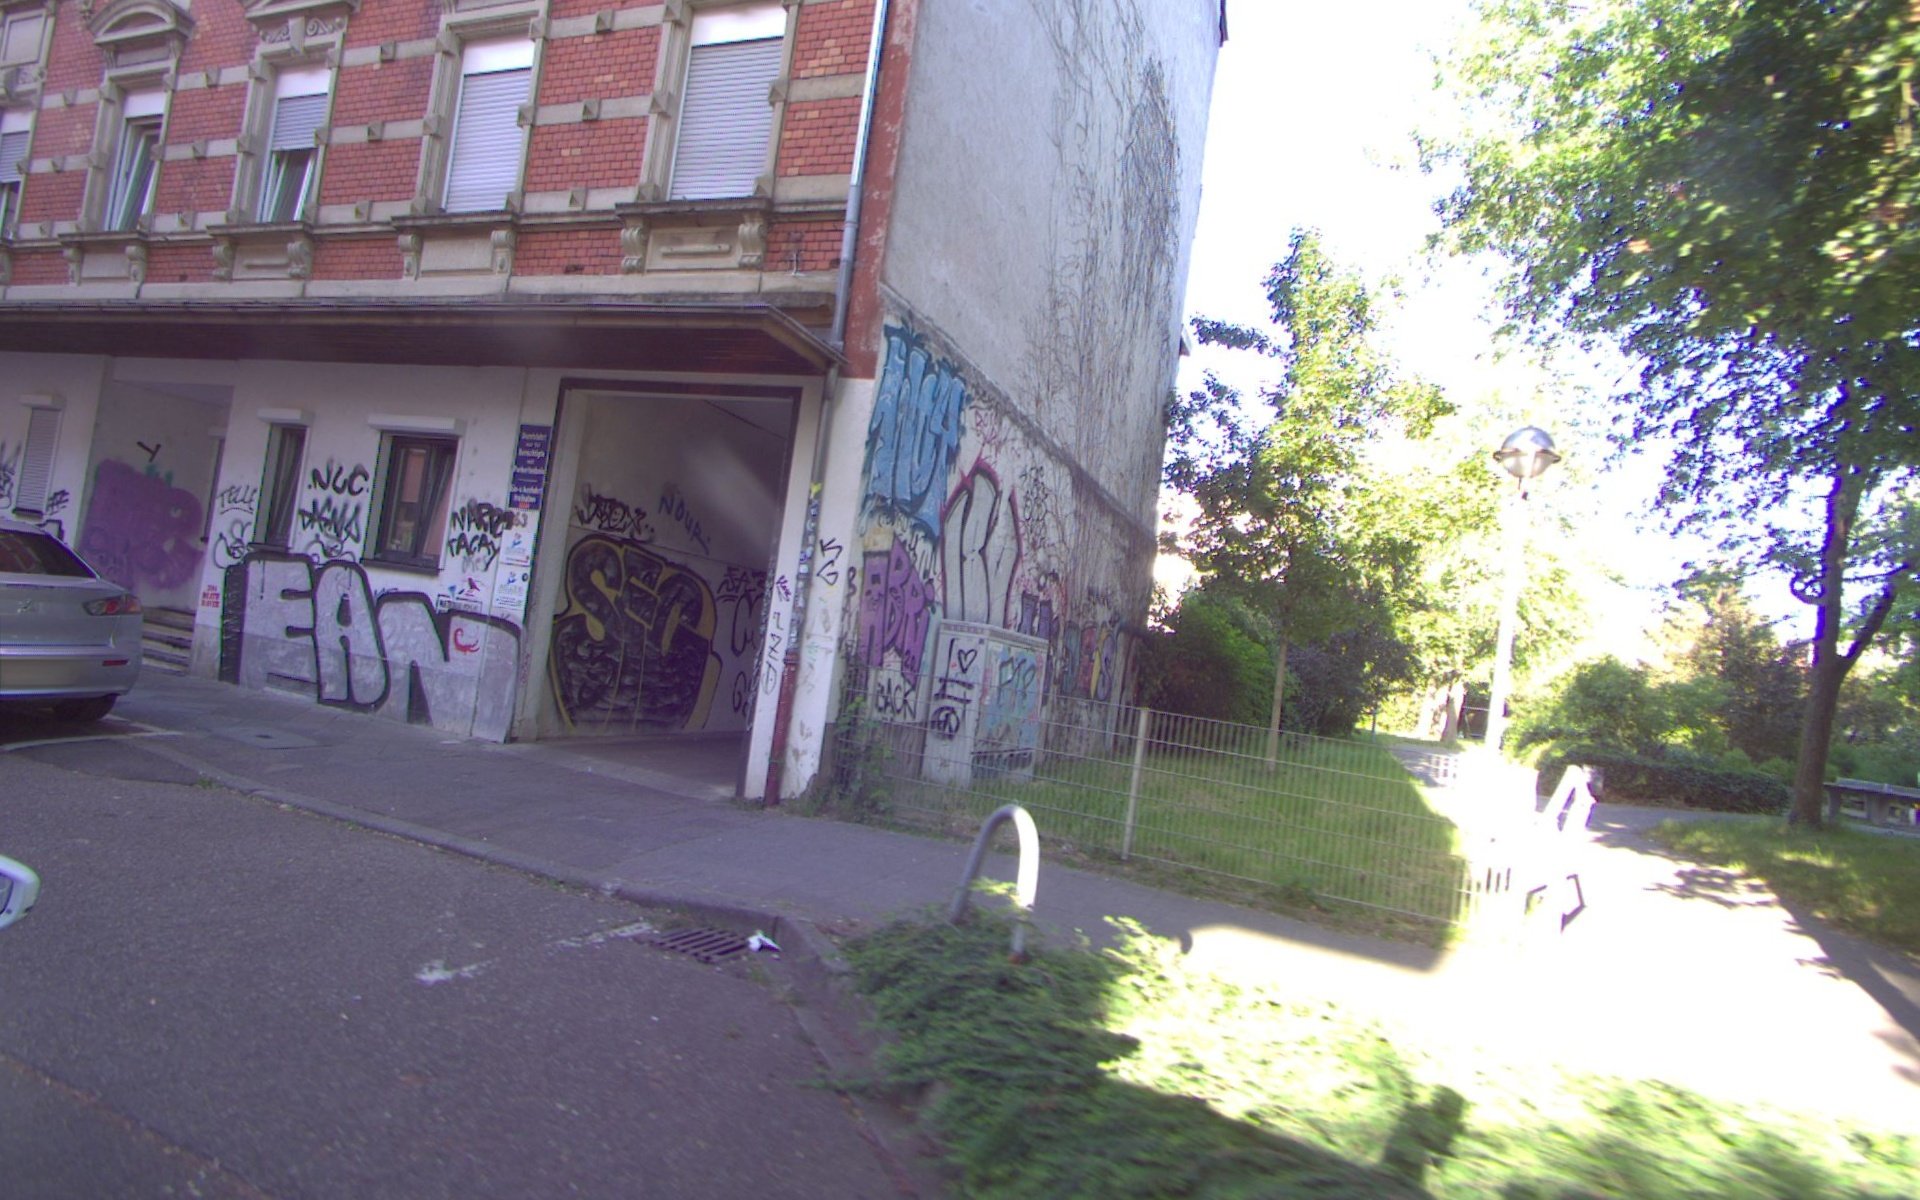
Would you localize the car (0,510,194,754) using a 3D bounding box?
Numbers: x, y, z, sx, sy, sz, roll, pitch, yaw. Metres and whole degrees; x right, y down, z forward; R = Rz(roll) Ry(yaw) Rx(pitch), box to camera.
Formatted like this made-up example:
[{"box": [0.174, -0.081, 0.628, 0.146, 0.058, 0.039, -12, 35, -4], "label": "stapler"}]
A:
[{"box": [-8.130, -0.008, 7.528, 4.318, 1.579, 1.728, 7, -2, 22], "label": "car"}]

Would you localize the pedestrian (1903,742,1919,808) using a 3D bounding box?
[{"box": [30.771, 5.610, 31.889, 0.739, 2.037, 0.908, 7, -1, -21], "label": "pedestrian"}]
